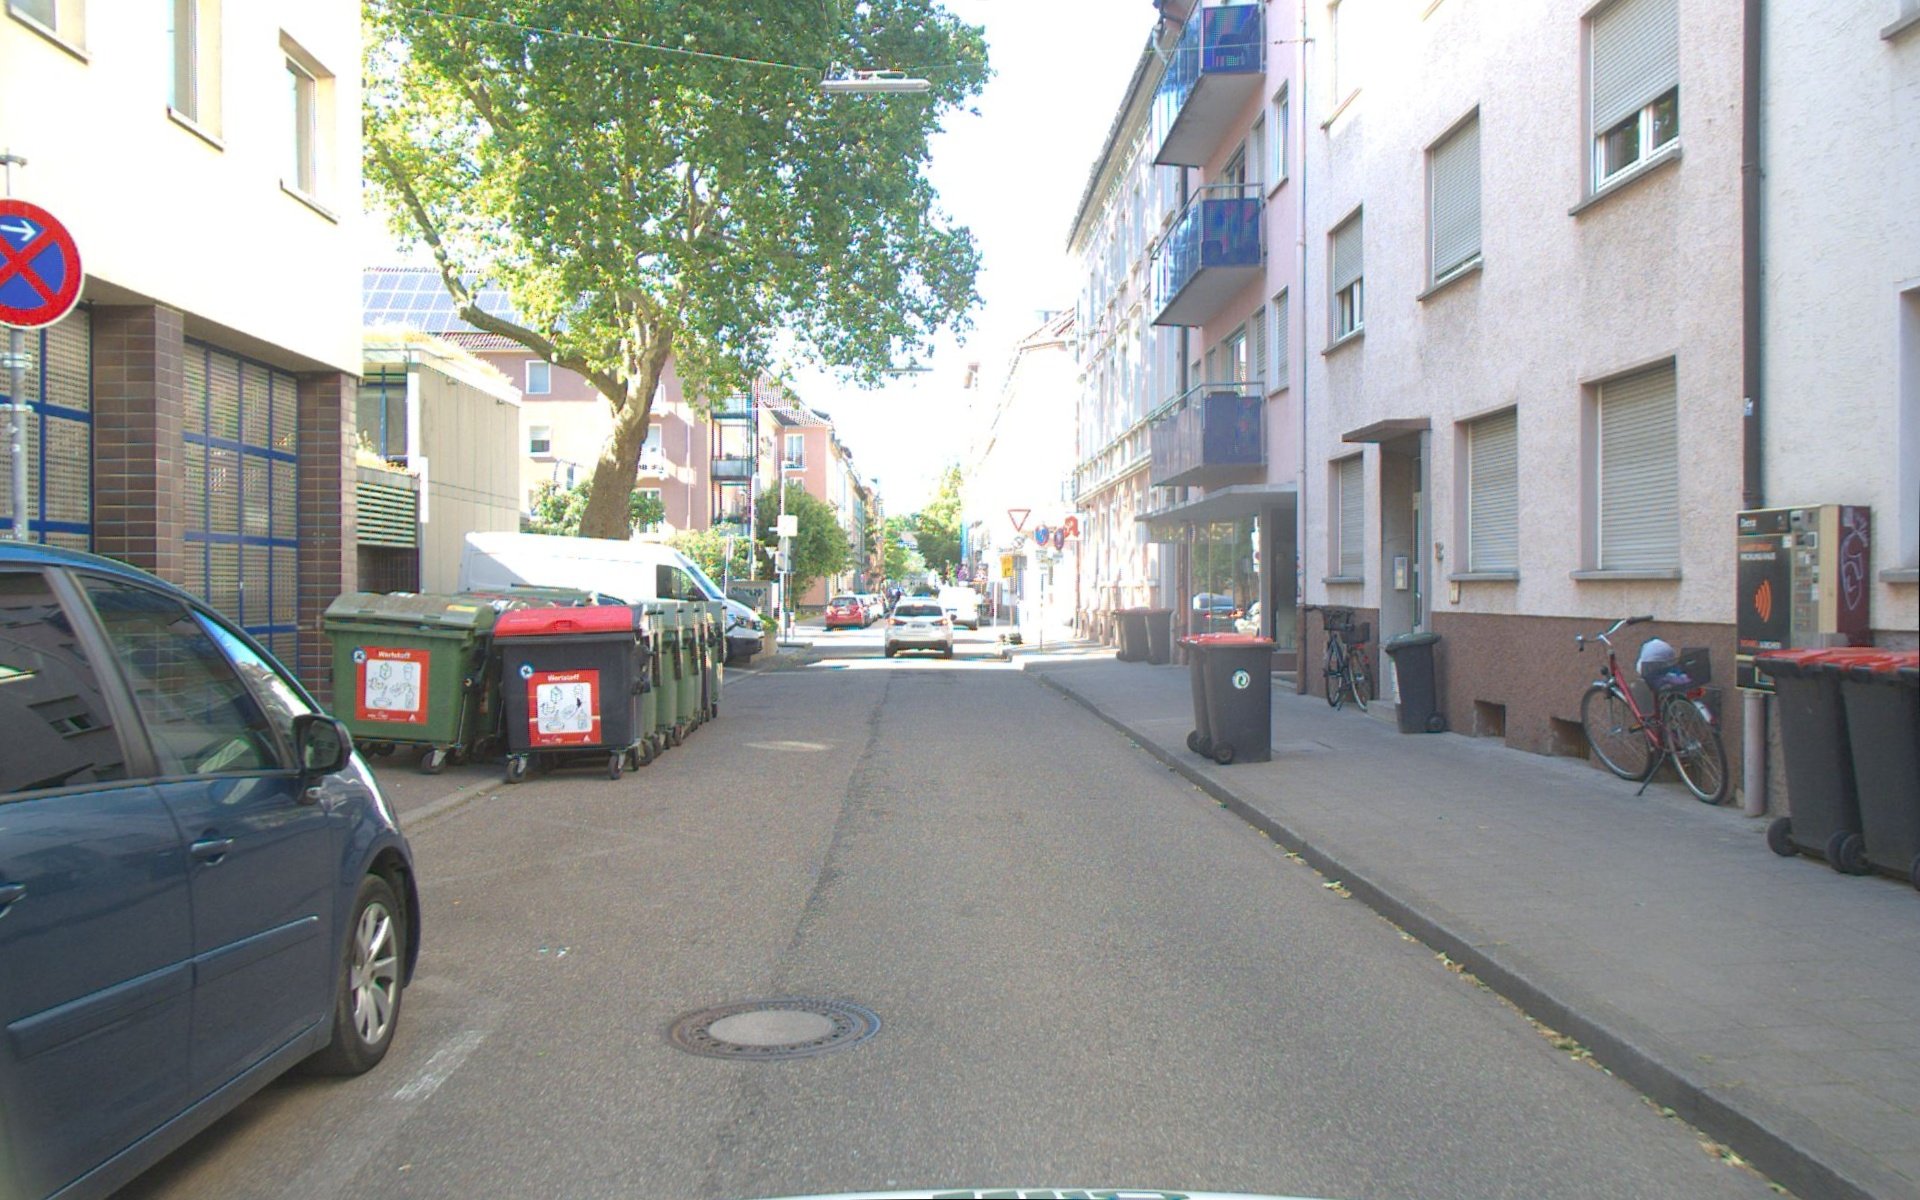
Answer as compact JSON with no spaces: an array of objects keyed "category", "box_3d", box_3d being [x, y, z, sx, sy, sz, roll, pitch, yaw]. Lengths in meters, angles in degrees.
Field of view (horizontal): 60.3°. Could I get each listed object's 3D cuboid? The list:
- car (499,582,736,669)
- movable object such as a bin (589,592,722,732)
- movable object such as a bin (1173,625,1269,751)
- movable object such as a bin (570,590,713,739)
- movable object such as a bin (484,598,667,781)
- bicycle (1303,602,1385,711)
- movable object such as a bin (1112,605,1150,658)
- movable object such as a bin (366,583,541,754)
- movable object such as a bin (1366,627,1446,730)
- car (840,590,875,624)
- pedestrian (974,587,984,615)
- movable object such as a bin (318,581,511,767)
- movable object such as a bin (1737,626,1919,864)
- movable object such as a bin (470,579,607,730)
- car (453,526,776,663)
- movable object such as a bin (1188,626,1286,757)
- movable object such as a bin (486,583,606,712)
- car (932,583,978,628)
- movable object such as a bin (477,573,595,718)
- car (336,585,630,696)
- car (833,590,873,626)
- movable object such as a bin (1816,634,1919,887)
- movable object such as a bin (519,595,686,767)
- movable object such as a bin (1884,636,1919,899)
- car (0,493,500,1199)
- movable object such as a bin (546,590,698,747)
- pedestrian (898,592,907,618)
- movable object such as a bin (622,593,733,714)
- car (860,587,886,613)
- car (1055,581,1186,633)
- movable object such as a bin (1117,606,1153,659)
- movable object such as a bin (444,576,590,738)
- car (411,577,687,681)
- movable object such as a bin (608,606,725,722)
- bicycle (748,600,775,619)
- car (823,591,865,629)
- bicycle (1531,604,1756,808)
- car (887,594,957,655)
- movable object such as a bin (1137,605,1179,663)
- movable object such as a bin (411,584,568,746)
[{"category":"car","box_3d":[-6.969,0.514,34.023,4.408,1.496,1.929,3,0,0]},{"category":"movable object such as a bin","box_3d":[-3.397,0.683,18.591,1.307,1.517,1.081,0,-1,-2]},{"category":"movable object such as a bin","box_3d":[2.359,0.787,15.007,0.752,1.105,0.693,0,-1,-1]},{"category":"movable object such as a bin","box_3d":[-3.352,0.669,17.524,1.316,1.525,1.017,0,-1,-2]},{"category":"movable object such as a bin","box_3d":[-3.285,0.744,14.271,1.293,1.476,1.186,-1,-1,-2]},{"category":"bicycle","box_3d":[4.333,0.614,18.777,0.444,1.154,1.920,-2,0,0]},{"category":"movable object such as a bin","box_3d":[3.630,0.663,35.146,0.730,1.105,0.634,0,-1,0]},{"category":"movable object such as a bin","box_3d":[-4.680,0.622,15.394,1.279,1.525,1.156,0,-1,-2]},{"category":"movable object such as a bin","box_3d":[4.317,0.754,16.036,0.586,0.968,0.682,0,-1,-1]},{"category":"car","box_3d":[-5.245,0.382,84.753,1.602,1.685,3.784,0,0,-1]},{"category":"pedestrian","box_3d":[1.226,0.076,105.794,0.605,1.764,0.560,0,-1,-2]},{"category":"movable object such as a bin","box_3d":[-4.659,0.615,14.236,1.270,1.524,1.178,0,-1,-2]},{"category":"movable object such as a bin","box_3d":[4.472,0.710,8.366,0.724,1.116,0.639,-3,-1,-1]},{"category":"movable object such as a bin","box_3d":[-4.700,0.602,18.538,1.262,1.632,1.081,0,-1,-2]},{"category":"car","box_3d":[-7.584,-0.116,36.808,6.601,2.599,2.145,3,-1,0]},{"category":"movable object such as a bin","box_3d":[2.384,0.775,14.295,0.717,1.100,0.703,0,-1,-1]},{"category":"movable object such as a bin","box_3d":[-5.216,0.595,20.950,1.327,1.577,1.119,1,-1,-8]},{"category":"car","box_3d":[-0.262,0.252,77.000,1.904,1.982,4.075,1,0,-4]},{"category":"movable object such as a bin","box_3d":[-5.050,0.535,19.797,1.204,1.682,1.172,1,-1,-7]},{"category":"car","box_3d":[-6.931,0.582,24.330,3.798,1.531,1.826,1,-1,-3]},{"category":"car","box_3d":[-5.104,0.375,79.242,1.685,1.712,3.725,0,0,-1]},{"category":"movable object such as a bin","box_3d":[4.501,0.732,7.772,0.643,1.124,0.593,0,0,-1]},{"category":"movable object such as a bin","box_3d":[-3.311,0.729,15.444,1.307,1.510,1.093,-1,-1,-2]},{"category":"movable object such as a bin","box_3d":[4.502,0.733,7.210,0.615,1.142,0.569,0,-1,-1]},{"category":"car","box_3d":[-2.624,0.671,4.051,1.746,1.696,4.669,-1,0,-1]},{"category":"movable object such as a bin","box_3d":[-3.345,0.666,16.489,1.321,1.513,1.003,0,-1,-2]},{"category":"pedestrian","box_3d":[-3.998,0.335,115.481,0.634,1.828,0.639,0,-1,-1]},{"category":"movable object such as a bin","box_3d":[-3.527,0.660,20.778,1.275,1.476,1.116,0,-1,-5]},{"category":"car","box_3d":[-5.561,0.011,105.859,1.540,1.613,3.610,0,0,-1]},{"category":"car","box_3d":[6.384,0.282,65.868,4.791,1.962,1.999,0,-2,23]},{"category":"movable object such as a bin","box_3d":[3.645,0.666,34.515,0.687,1.092,0.596,0,-1,0]},{"category":"movable object such as a bin","box_3d":[-4.656,0.587,17.475,1.268,1.649,1.017,0,-1,-2]},{"category":"car","box_3d":[-7.136,0.504,29.070,4.377,1.638,1.914,2,-1,-4]},{"category":"movable object such as a bin","box_3d":[-3.471,0.745,19.680,1.216,1.345,1.045,0,-1,-2]},{"category":"bicycle","box_3d":[-10.167,0.476,84.784,0.598,0.948,1.892,0,-1,-34]},{"category":"car","box_3d":[-5.151,0.427,73.641,1.734,1.616,3.725,0,1,-2]},{"category":"bicycle","box_3d":[4.541,0.650,11.163,0.526,1.190,2.076,-4,0,-2]},{"category":"car","box_3d":[-1.049,0.624,44.311,1.787,1.540,3.822,0,0,-2]},{"category":"movable object such as a bin","box_3d":[3.896,0.662,32.576,0.715,1.123,0.692,0,-1,-4]},{"category":"movable object such as a bin","box_3d":[-4.658,0.631,16.472,1.276,1.549,1.017,0,-1,-2]}]
